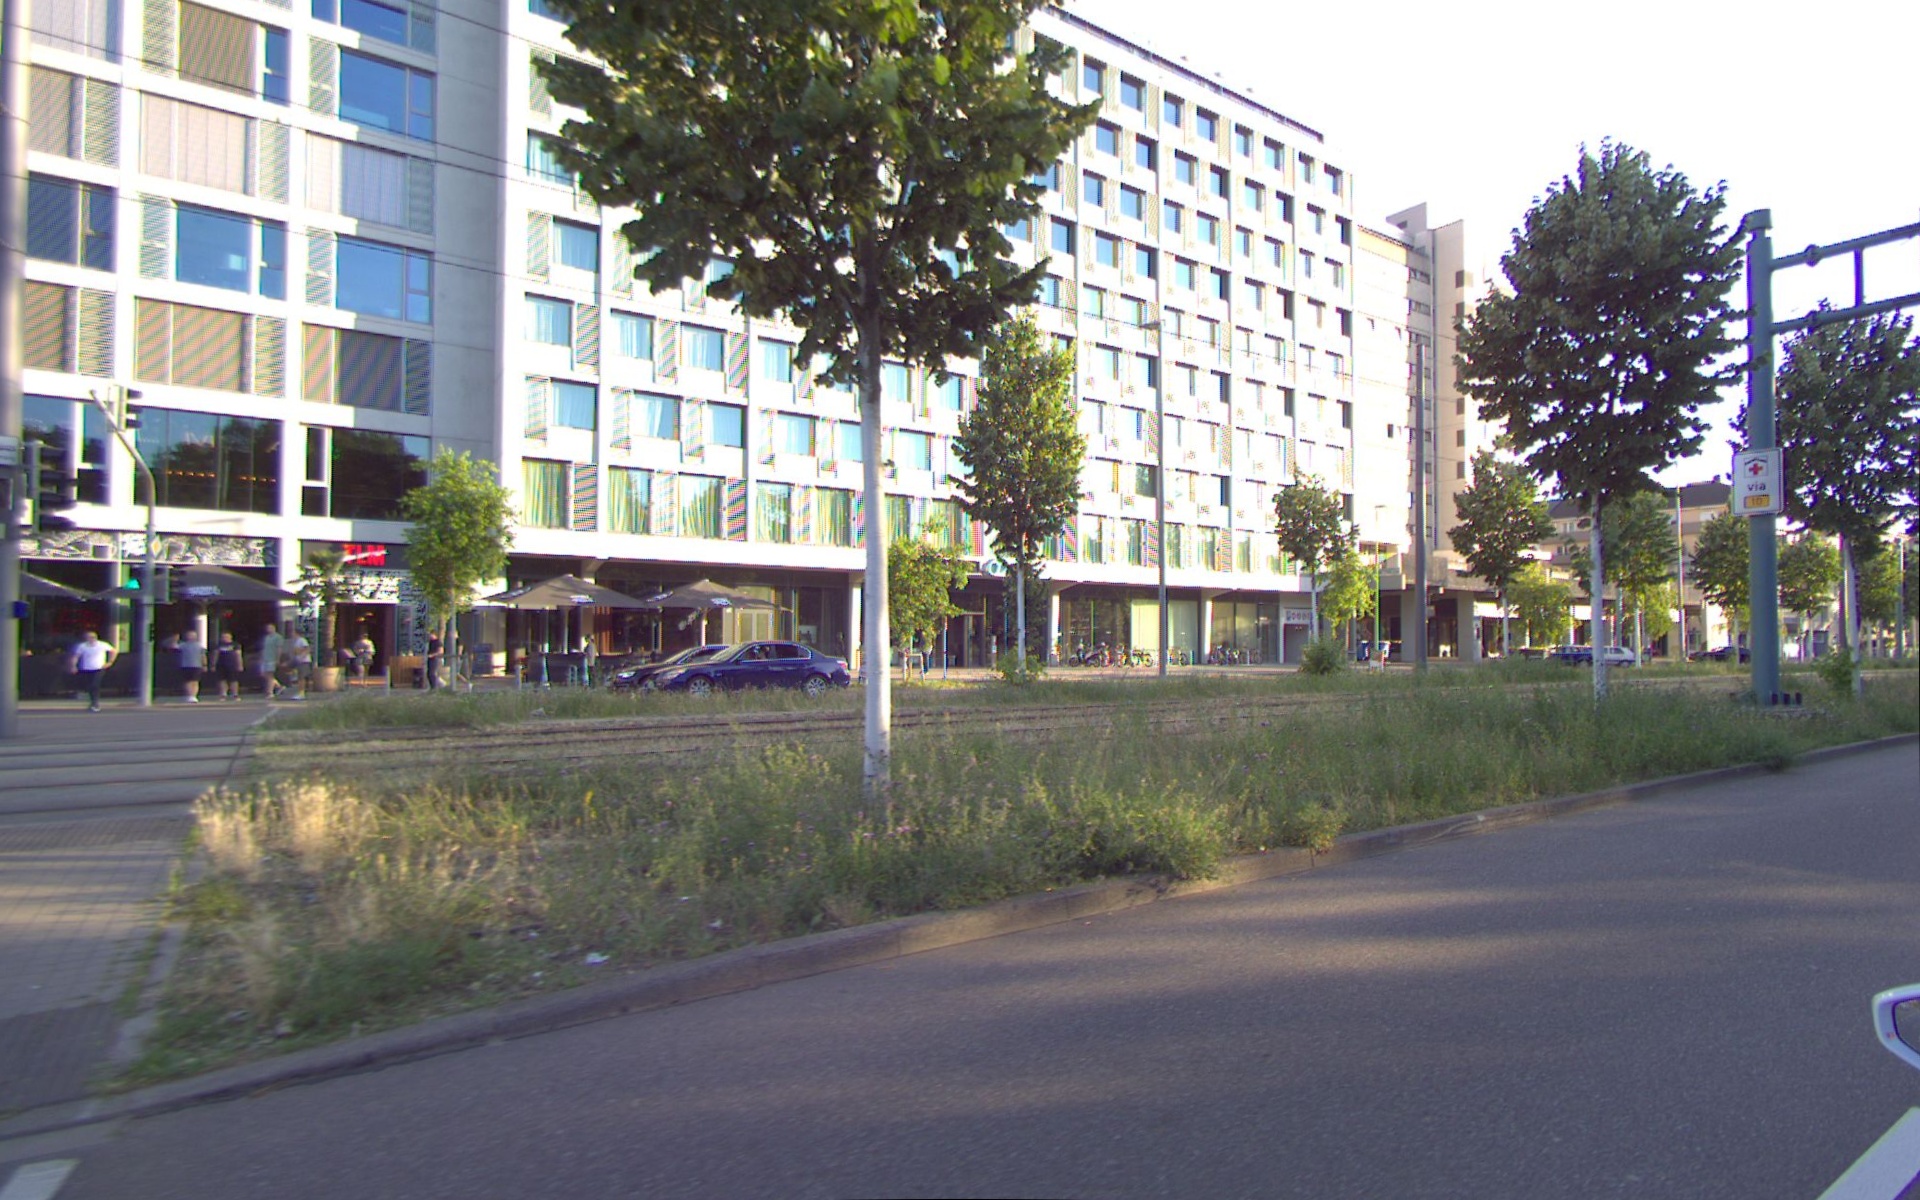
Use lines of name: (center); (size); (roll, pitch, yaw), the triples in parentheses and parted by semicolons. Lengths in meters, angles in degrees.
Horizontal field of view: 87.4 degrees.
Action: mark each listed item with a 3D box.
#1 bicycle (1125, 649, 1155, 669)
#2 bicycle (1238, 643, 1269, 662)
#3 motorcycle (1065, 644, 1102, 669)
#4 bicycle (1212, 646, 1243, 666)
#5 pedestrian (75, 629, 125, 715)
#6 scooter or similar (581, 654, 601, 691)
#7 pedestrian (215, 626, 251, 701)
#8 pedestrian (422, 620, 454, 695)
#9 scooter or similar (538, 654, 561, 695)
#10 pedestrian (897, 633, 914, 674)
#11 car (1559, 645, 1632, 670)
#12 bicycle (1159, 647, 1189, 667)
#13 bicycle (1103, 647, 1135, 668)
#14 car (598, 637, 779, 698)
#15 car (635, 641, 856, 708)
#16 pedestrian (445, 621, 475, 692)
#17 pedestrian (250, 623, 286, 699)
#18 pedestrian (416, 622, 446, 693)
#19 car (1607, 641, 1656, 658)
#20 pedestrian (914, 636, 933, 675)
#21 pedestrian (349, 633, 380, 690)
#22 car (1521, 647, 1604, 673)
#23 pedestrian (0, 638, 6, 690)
bicycle: (9.358, 3.050, 52.245); (0.417, 1.033, 1.729); (2, -3, -38)
bicycle: (16.856, 3.008, 57.689); (0.417, 1.033, 1.774); (2, -3, -38)
motorcycle: (6.177, 2.828, 50.278); (1.869, 1.187, 0.513); (0, -2, 41)
bicycle: (14.887, 3.108, 55.925); (0.417, 1.033, 1.774); (2, -3, -38)
pedestrian: (-19.279, 1.597, 22.542); (0.755, 1.860, 0.701); (2, 0, -36)
scooter or similar: (-10.858, 2.114, 29.521); (0.288, 1.047, 1.000); (3, -3, -34)
pedestrian: (-18.569, 1.604, 25.652); (0.674, 1.860, 0.701); (3, -1, -36)
pedestrian: (-14.385, 1.573, 27.686); (0.540, 2.040, 0.503); (0, -2, 7)
scooter or similar: (-11.888, 2.151, 29.080); (0.334, 1.099, 0.966); (5, -2, -34)
pedestrian: (-2.303, 2.250, 42.338); (0.510, 1.678, 0.426); (2, 0, -34)
car: (43.957, 3.967, 69.554); (4.053, 1.455, 1.824); (1, 0, 25)
bicycle: (11.480, 3.029, 53.911); (0.417, 1.033, 1.774); (2, -3, -38)
bicycle: (8.040, 2.899, 50.906); (0.417, 1.033, 1.774); (2, -3, -38)
car: (-7.033, 1.744, 26.195); (4.184, 1.458, 1.873); (2, -4, -36)
car: (-5.037, 1.722, 23.821); (4.751, 1.459, 2.003); (2, -4, -34)
pedestrian: (-14.451, 1.636, 29.044); (0.540, 2.040, 0.503); (0, -2, 7)
pedestrian: (-18.223, 1.591, 26.461); (0.701, 1.949, 0.674); (2, 0, -34)
pedestrian: (-15.258, 1.651, 29.003); (0.540, 2.040, 0.503); (0, -2, 7)
car: (78.960, 5.811, 118.194); (2.147, 1.792, 4.298); (0, -4, -37)
pedestrian: (-1.529, 2.304, 41.828); (0.597, 1.621, 0.494); (2, 0, -34)
pedestrian: (-17.590, 1.807, 29.689); (0.700, 1.625, 0.676); (2, 0, -28)
car: (39.110, 3.896, 65.319); (4.199, 1.611, 2.010); (0, -2, 15)
pedestrian: (-26.860, 1.756, 27.647); (0.596, 1.433, 0.769); (-1, -3, 39)
